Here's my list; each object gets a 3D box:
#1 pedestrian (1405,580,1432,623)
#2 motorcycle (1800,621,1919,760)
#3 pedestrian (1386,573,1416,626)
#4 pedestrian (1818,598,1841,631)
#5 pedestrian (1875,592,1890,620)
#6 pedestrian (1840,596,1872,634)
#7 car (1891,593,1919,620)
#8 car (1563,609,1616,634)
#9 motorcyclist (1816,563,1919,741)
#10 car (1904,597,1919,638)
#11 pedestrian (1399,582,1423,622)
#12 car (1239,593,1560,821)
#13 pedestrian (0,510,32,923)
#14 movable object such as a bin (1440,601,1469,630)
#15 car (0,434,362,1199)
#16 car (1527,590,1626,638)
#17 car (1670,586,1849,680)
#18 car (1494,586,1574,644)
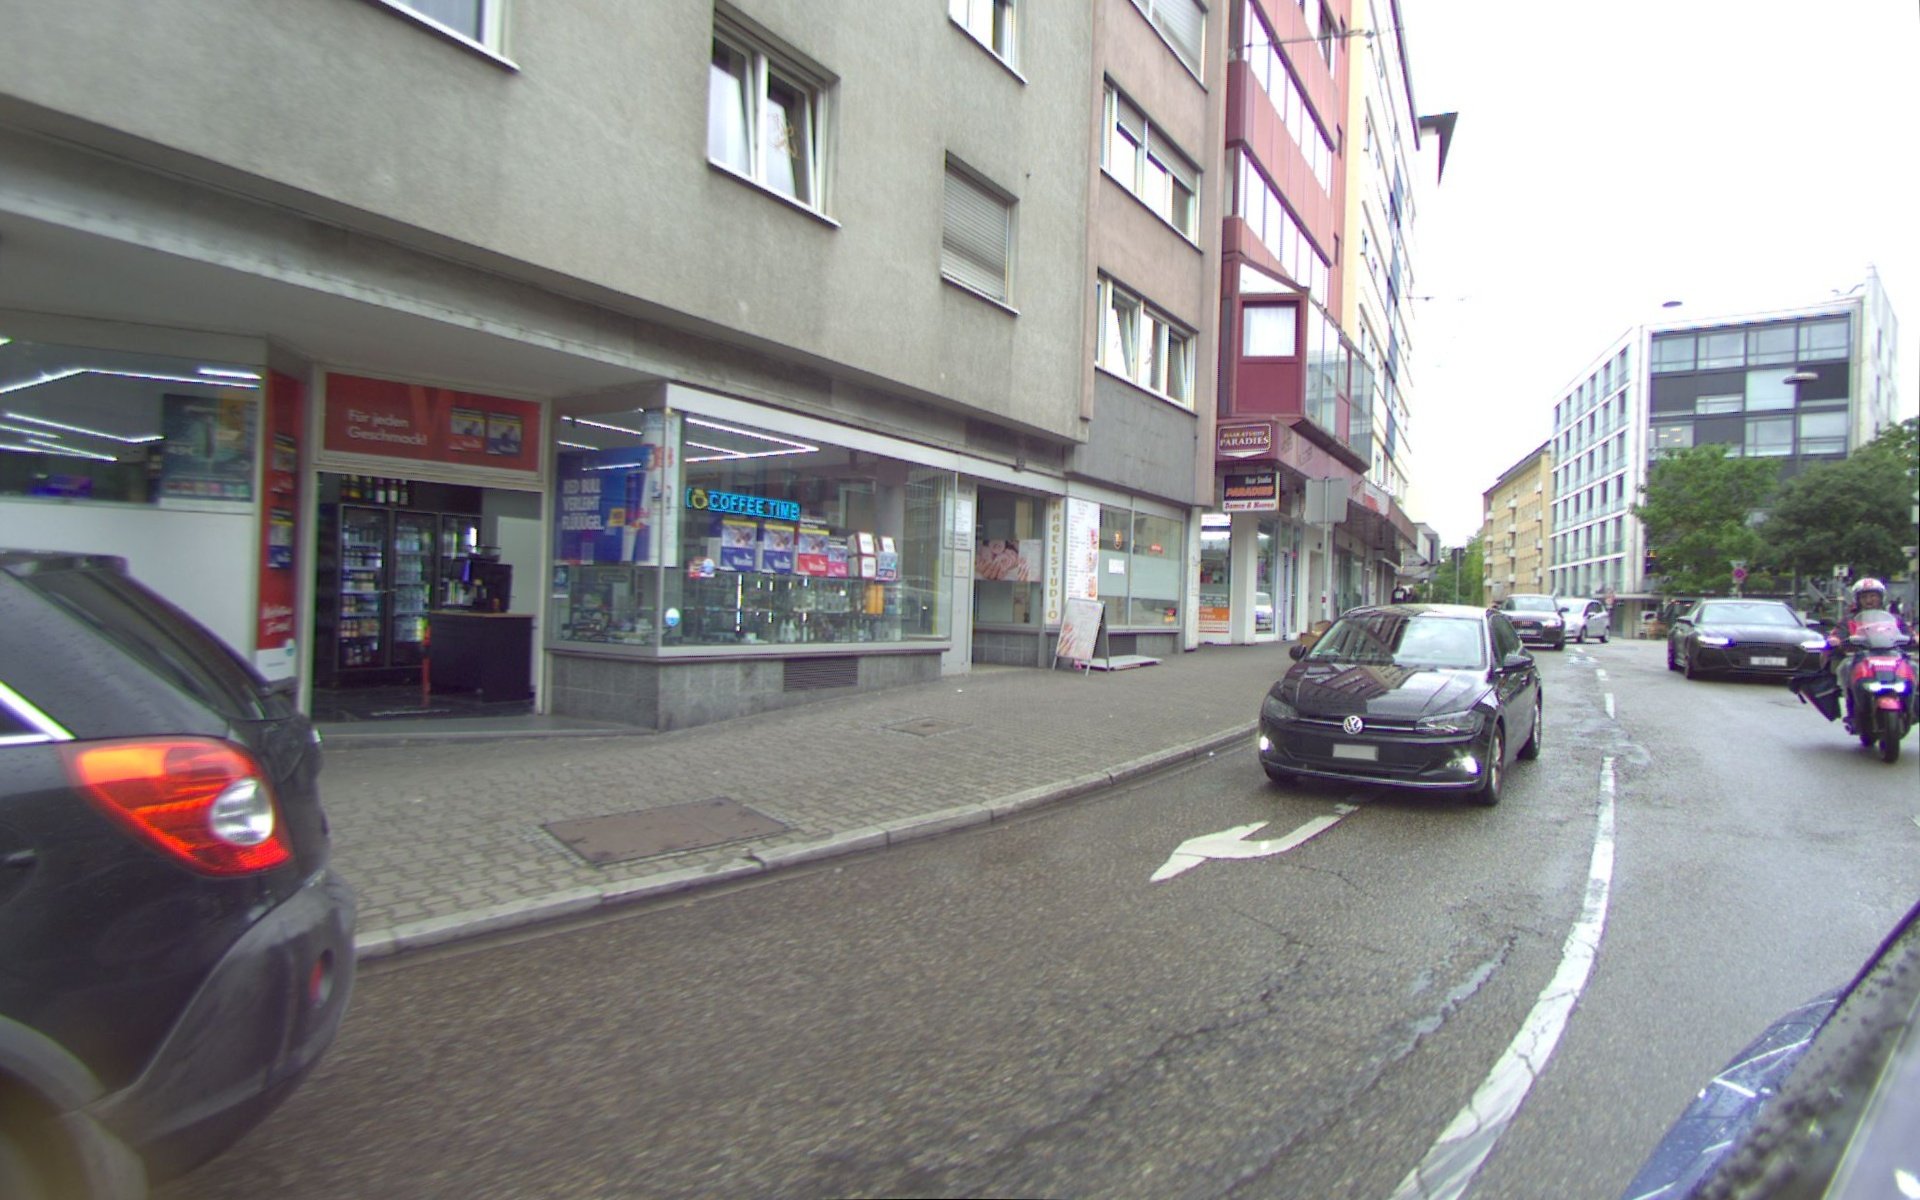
[{"bbox_3d":[18.861,0.077,41.622,0.739,1.745,0.753,1,-2,-37],"label":"pedestrian"},{"bbox_3d":[8.961,0.810,9.723,1.307,1.149,2.154,0,0,39],"label":"motorcycle"},{"bbox_3d":[15.543,-0.004,35.693,0.830,1.787,0.612,4,-1,25],"label":"pedestrian"},{"bbox_3d":[49.468,0.816,57.589,0.780,1.838,0.588,-1,-3,24],"label":"pedestrian"},{"bbox_3d":[61.015,0.417,66.945,0.692,1.838,0.592,2,-4,-41],"label":"pedestrian"},{"bbox_3d":[43.155,0.740,48.758,0.775,1.773,0.782,-6,-5,24],"label":"pedestrian"},{"bbox_3d":[57.069,0.365,59.240,1.708,1.579,3.543,-1,-1,-38],"label":"car"},{"bbox_3d":[39.216,1.340,63.170,1.951,1.405,3.973,3,0,20],"label":"car"},{"bbox_3d":[8.921,0.475,9.648,1.087,1.625,0.940,-1,-1,37],"label":"motorcyclist"},{"bbox_3d":[42.341,0.728,42.193,3.927,1.705,1.998,0,0,3],"label":"car"},{"bbox_3d":[19.929,0.095,44.714,0.774,1.786,0.617,1,-2,-37],"label":"pedestrian"},{"bbox_3d":[3.947,0.691,8.718,1.733,1.448,3.830,1,1,36],"label":"car"},{"bbox_3d":[-4.318,0.492,3.990,0.766,1.713,0.629,0,2,-22],"label":"pedestrian"},{"bbox_3d":[17.200,0.533,35.217,0.658,0.945,0.533,4,2,-23],"label":"movable object such as a bin"},{"bbox_3d":[-3.485,0.633,1.551,4.222,1.809,1.911,1,-3,-38],"label":"car"},{"bbox_3d":[22.143,0.486,36.317,4.033,1.604,1.996,1,0,-42],"label":"car"},{"bbox_3d":[14.528,0.515,18.679,1.984,1.510,4.682,0,0,31],"label":"car"},{"bbox_3d":[16.763,0.432,29.461,1.858,1.567,4.057,-1,-1,32],"label":"car"}]
